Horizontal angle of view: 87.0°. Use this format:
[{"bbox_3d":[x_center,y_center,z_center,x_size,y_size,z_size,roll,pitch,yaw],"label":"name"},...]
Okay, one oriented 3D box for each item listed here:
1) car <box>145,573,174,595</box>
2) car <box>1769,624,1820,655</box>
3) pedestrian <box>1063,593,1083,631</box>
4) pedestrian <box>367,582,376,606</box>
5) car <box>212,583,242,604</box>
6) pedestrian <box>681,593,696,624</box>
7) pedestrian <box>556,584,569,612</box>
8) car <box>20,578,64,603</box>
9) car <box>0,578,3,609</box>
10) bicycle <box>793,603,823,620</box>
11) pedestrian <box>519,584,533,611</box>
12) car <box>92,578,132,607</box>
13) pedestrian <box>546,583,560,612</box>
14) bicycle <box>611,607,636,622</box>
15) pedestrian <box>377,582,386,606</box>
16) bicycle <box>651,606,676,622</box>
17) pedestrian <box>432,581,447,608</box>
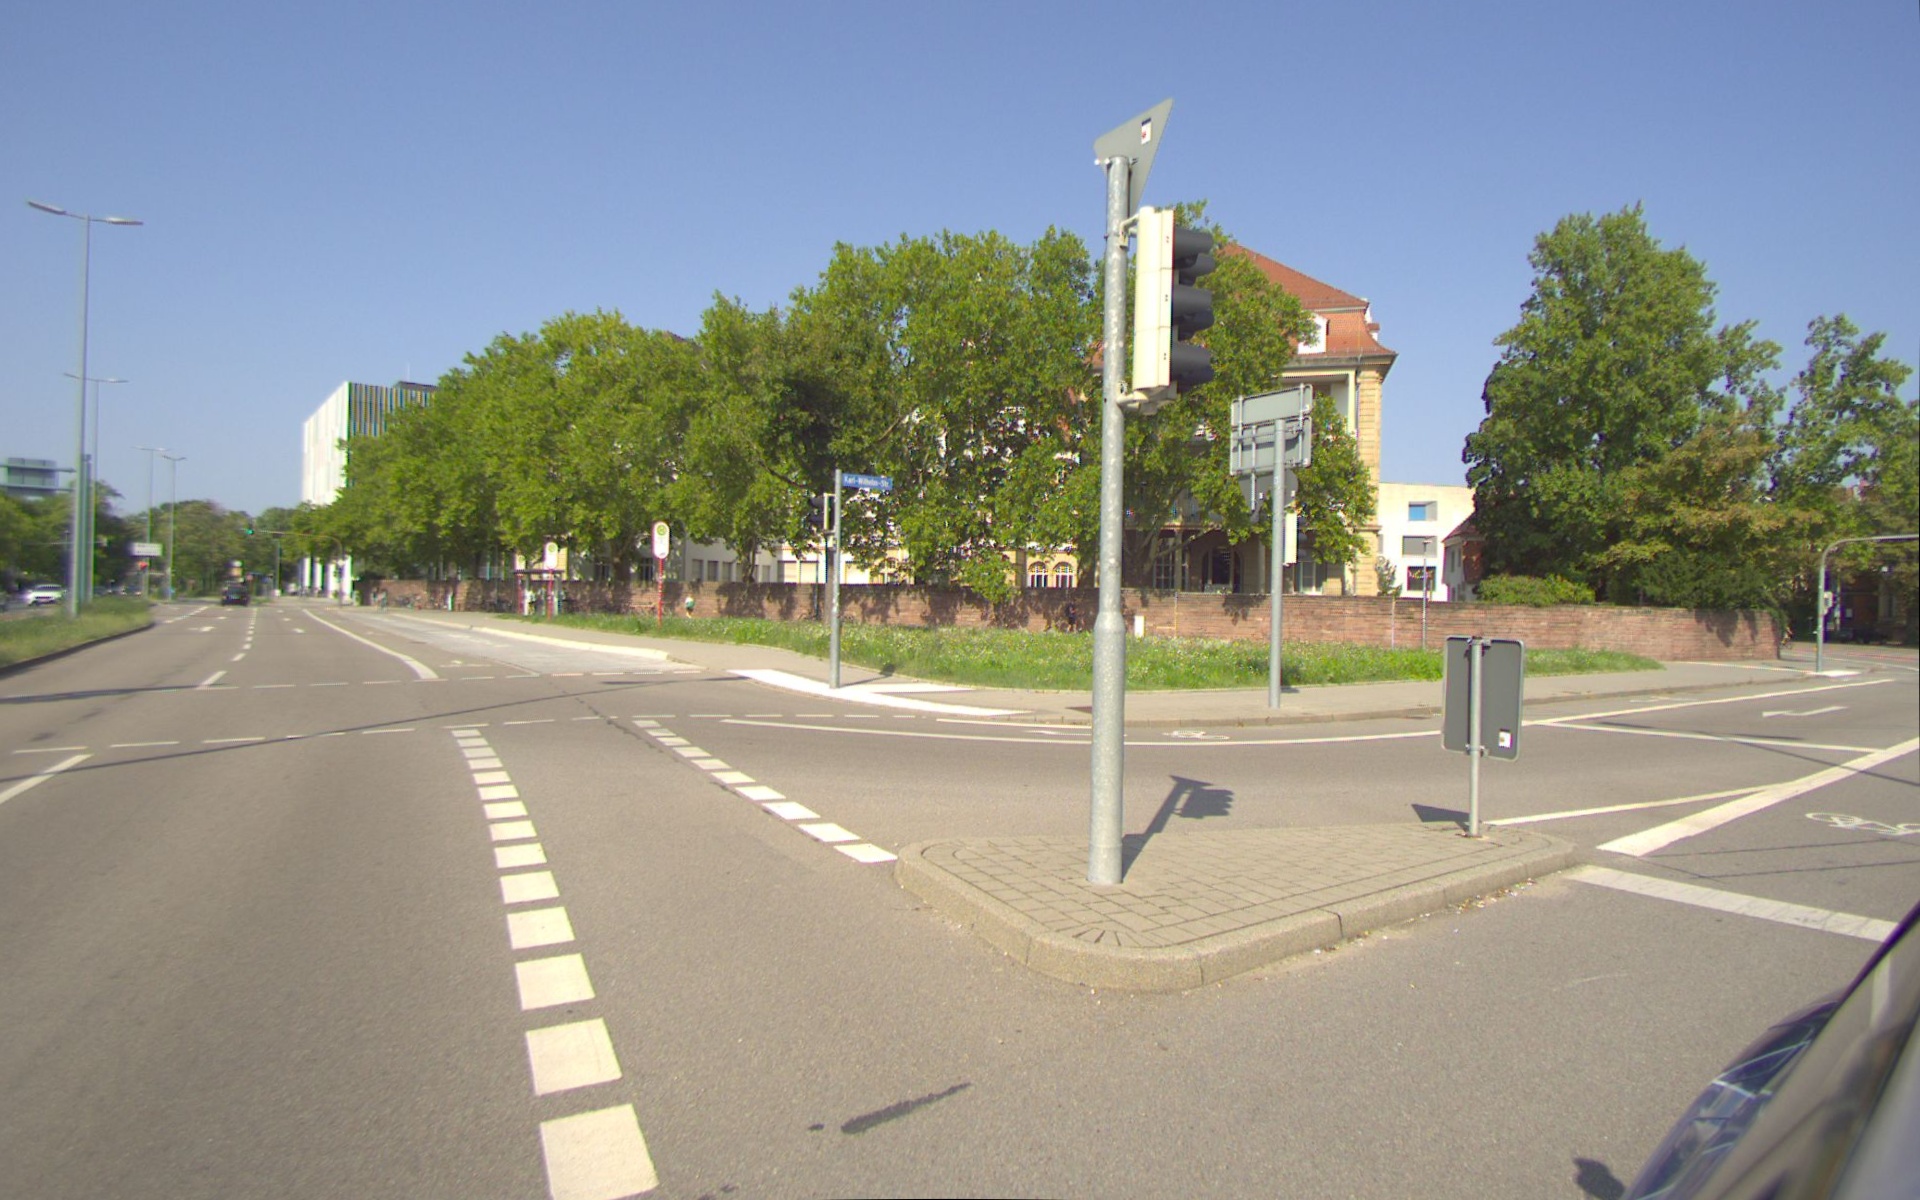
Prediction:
[{"bbox_3d":[-80.996,-1.611,102.400,1.888,2.040,3.988,2,-3,-44],"label":"car"},{"bbox_3d":[59.808,2.821,72.589,1.982,2.159,4.202,-1,-2,29],"label":"car"},{"bbox_3d":[5.086,0.540,45.552,0.709,1.705,0.590,1,0,21],"label":"pedestrian"},{"bbox_3d":[-43.707,-0.431,75.130,0.477,1.763,0.504,2,-3,-39],"label":"pedestrian"},{"bbox_3d":[-57.363,-0.508,79.177,1.681,1.594,3.996,1,0,-39],"label":"car"},{"bbox_3d":[-14.672,0.466,54.660,0.589,1.673,0.478,-2,-3,30],"label":"pedestrian"},{"bbox_3d":[-23.759,-0.106,60.475,0.590,1.673,0.477,-2,-3,35],"label":"pedestrian"},{"bbox_3d":[-62.562,-0.659,69.012,1.897,1.681,4.292,1,0,-38],"label":"car"},{"bbox_3d":[-51.122,-0.338,52.358,1.897,1.681,4.292,1,0,-38],"label":"car"},{"bbox_3d":[-7.863,0.600,52.336,1.535,0.846,0.430,1,0,28],"label":"bicycle"},{"bbox_3d":[-26.310,-0.153,61.355,0.499,1.592,0.528,-2,-3,33],"label":"pedestrian"},{"bbox_3d":[-48.816,-0.437,58.339,1.681,1.594,3.996,1,0,-39],"label":"car"},{"bbox_3d":[-23.928,-0.133,59.546,0.590,1.673,0.513,-2,-3,35],"label":"pedestrian"},{"bbox_3d":[-19.659,0.853,59.097,1.537,0.846,0.429,1,0,31],"label":"bicycle"},{"bbox_3d":[-43.134,-0.424,75.392,0.477,1.763,0.504,2,-3,-39],"label":"pedestrian"},{"bbox_3d":[-16.806,0.788,57.335,1.537,0.846,0.429,1,0,31],"label":"bicycle"},{"bbox_3d":[-38.441,-0.392,74.782,0.929,1.979,0.730,-2,-3,44],"label":"pedestrian"}]
